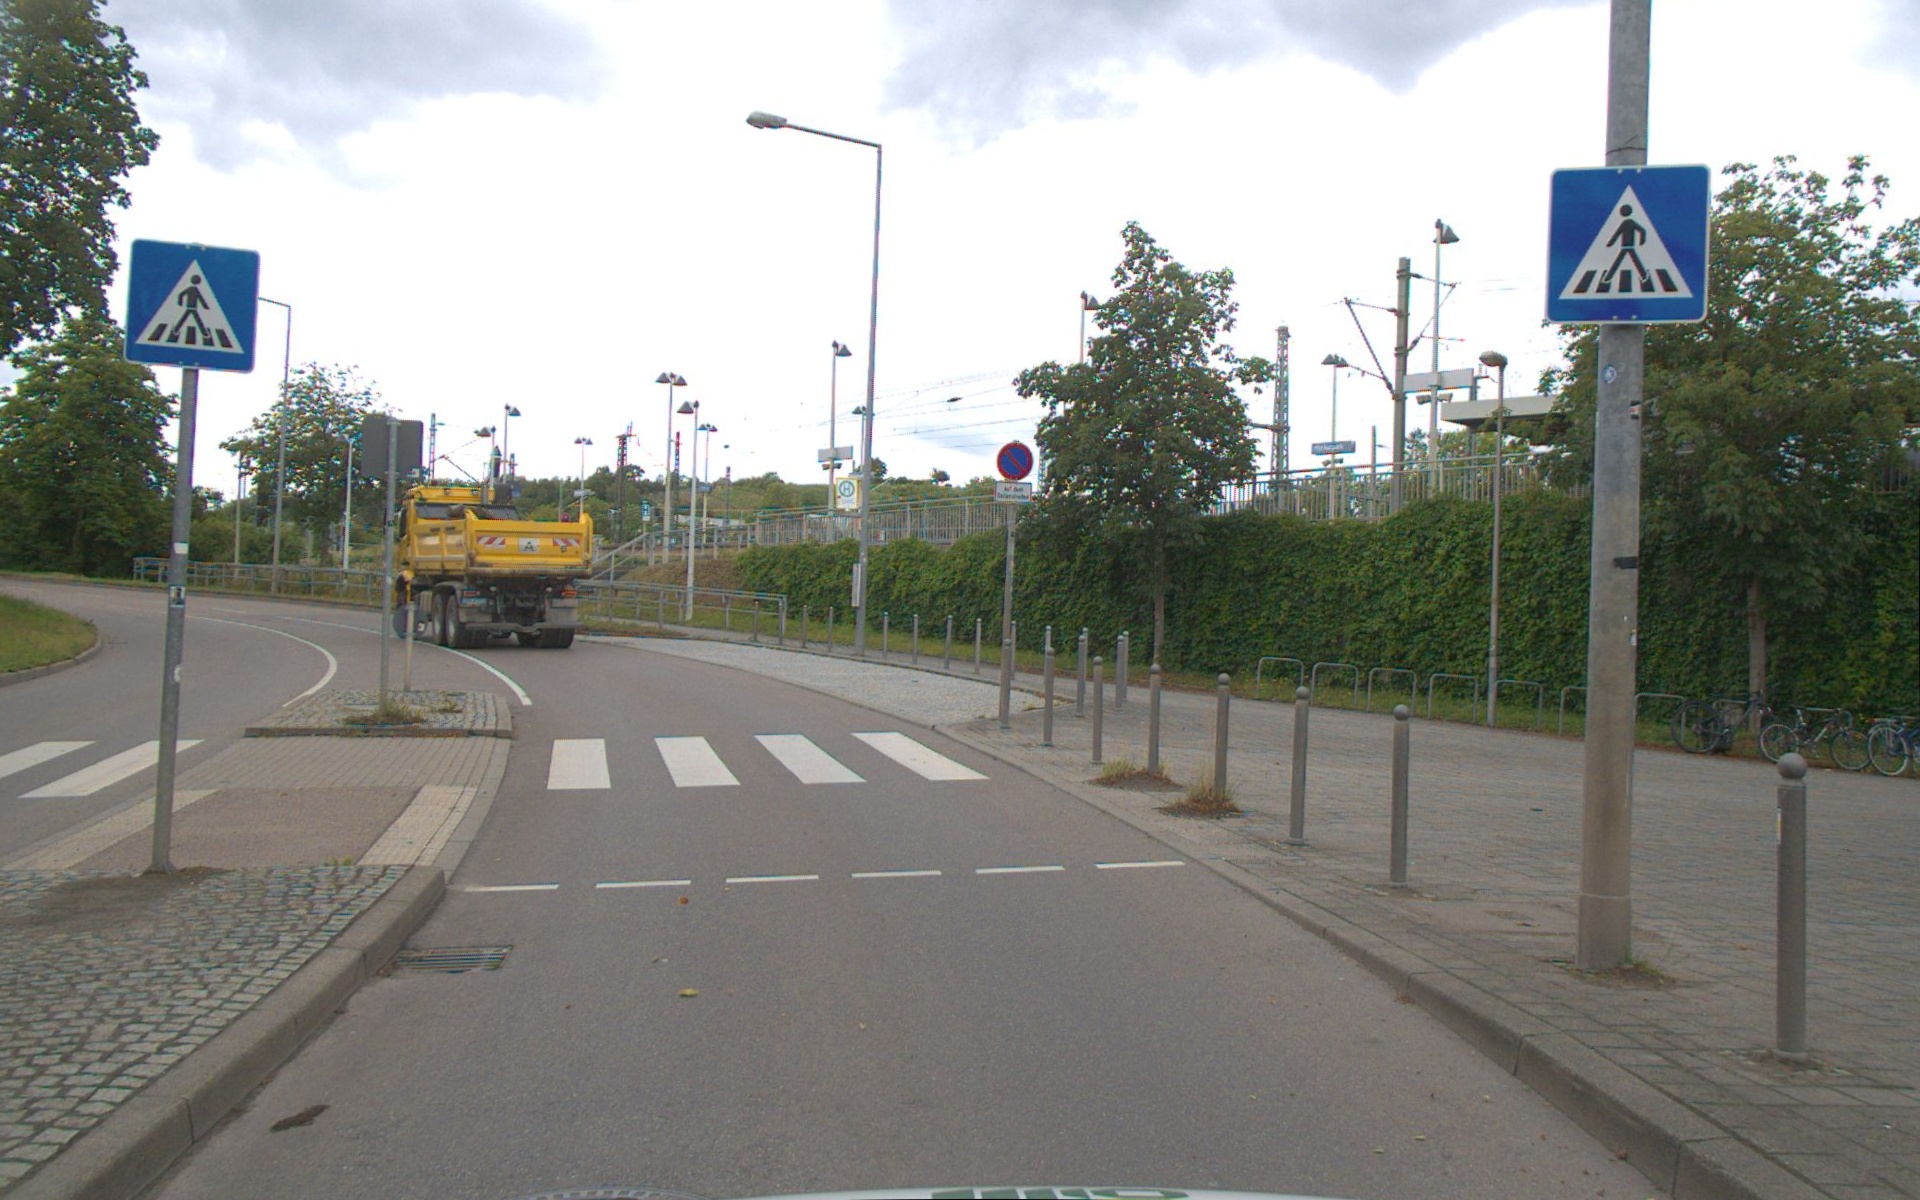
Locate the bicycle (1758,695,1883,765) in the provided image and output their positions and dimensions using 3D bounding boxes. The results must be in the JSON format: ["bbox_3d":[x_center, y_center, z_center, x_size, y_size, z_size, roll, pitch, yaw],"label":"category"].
[{"bbox_3d":[12.332,1.858,23.716,1.545,0.869,0.463,4,0,-5],"label":"bicycle"}]

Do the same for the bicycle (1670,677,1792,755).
[{"bbox_3d":[11.339,1.699,24.362,1.456,1.007,0.695,4,0,10],"label":"bicycle"}]

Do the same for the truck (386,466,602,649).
[{"bbox_3d":[-10.378,-0.950,36.173,2.735,3.544,8.051,1,2,-29],"label":"truck"}]

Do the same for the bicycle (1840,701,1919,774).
[{"bbox_3d":[13.152,1.924,22.700,1.929,0.880,0.510,5,0,-8],"label":"bicycle"}]
